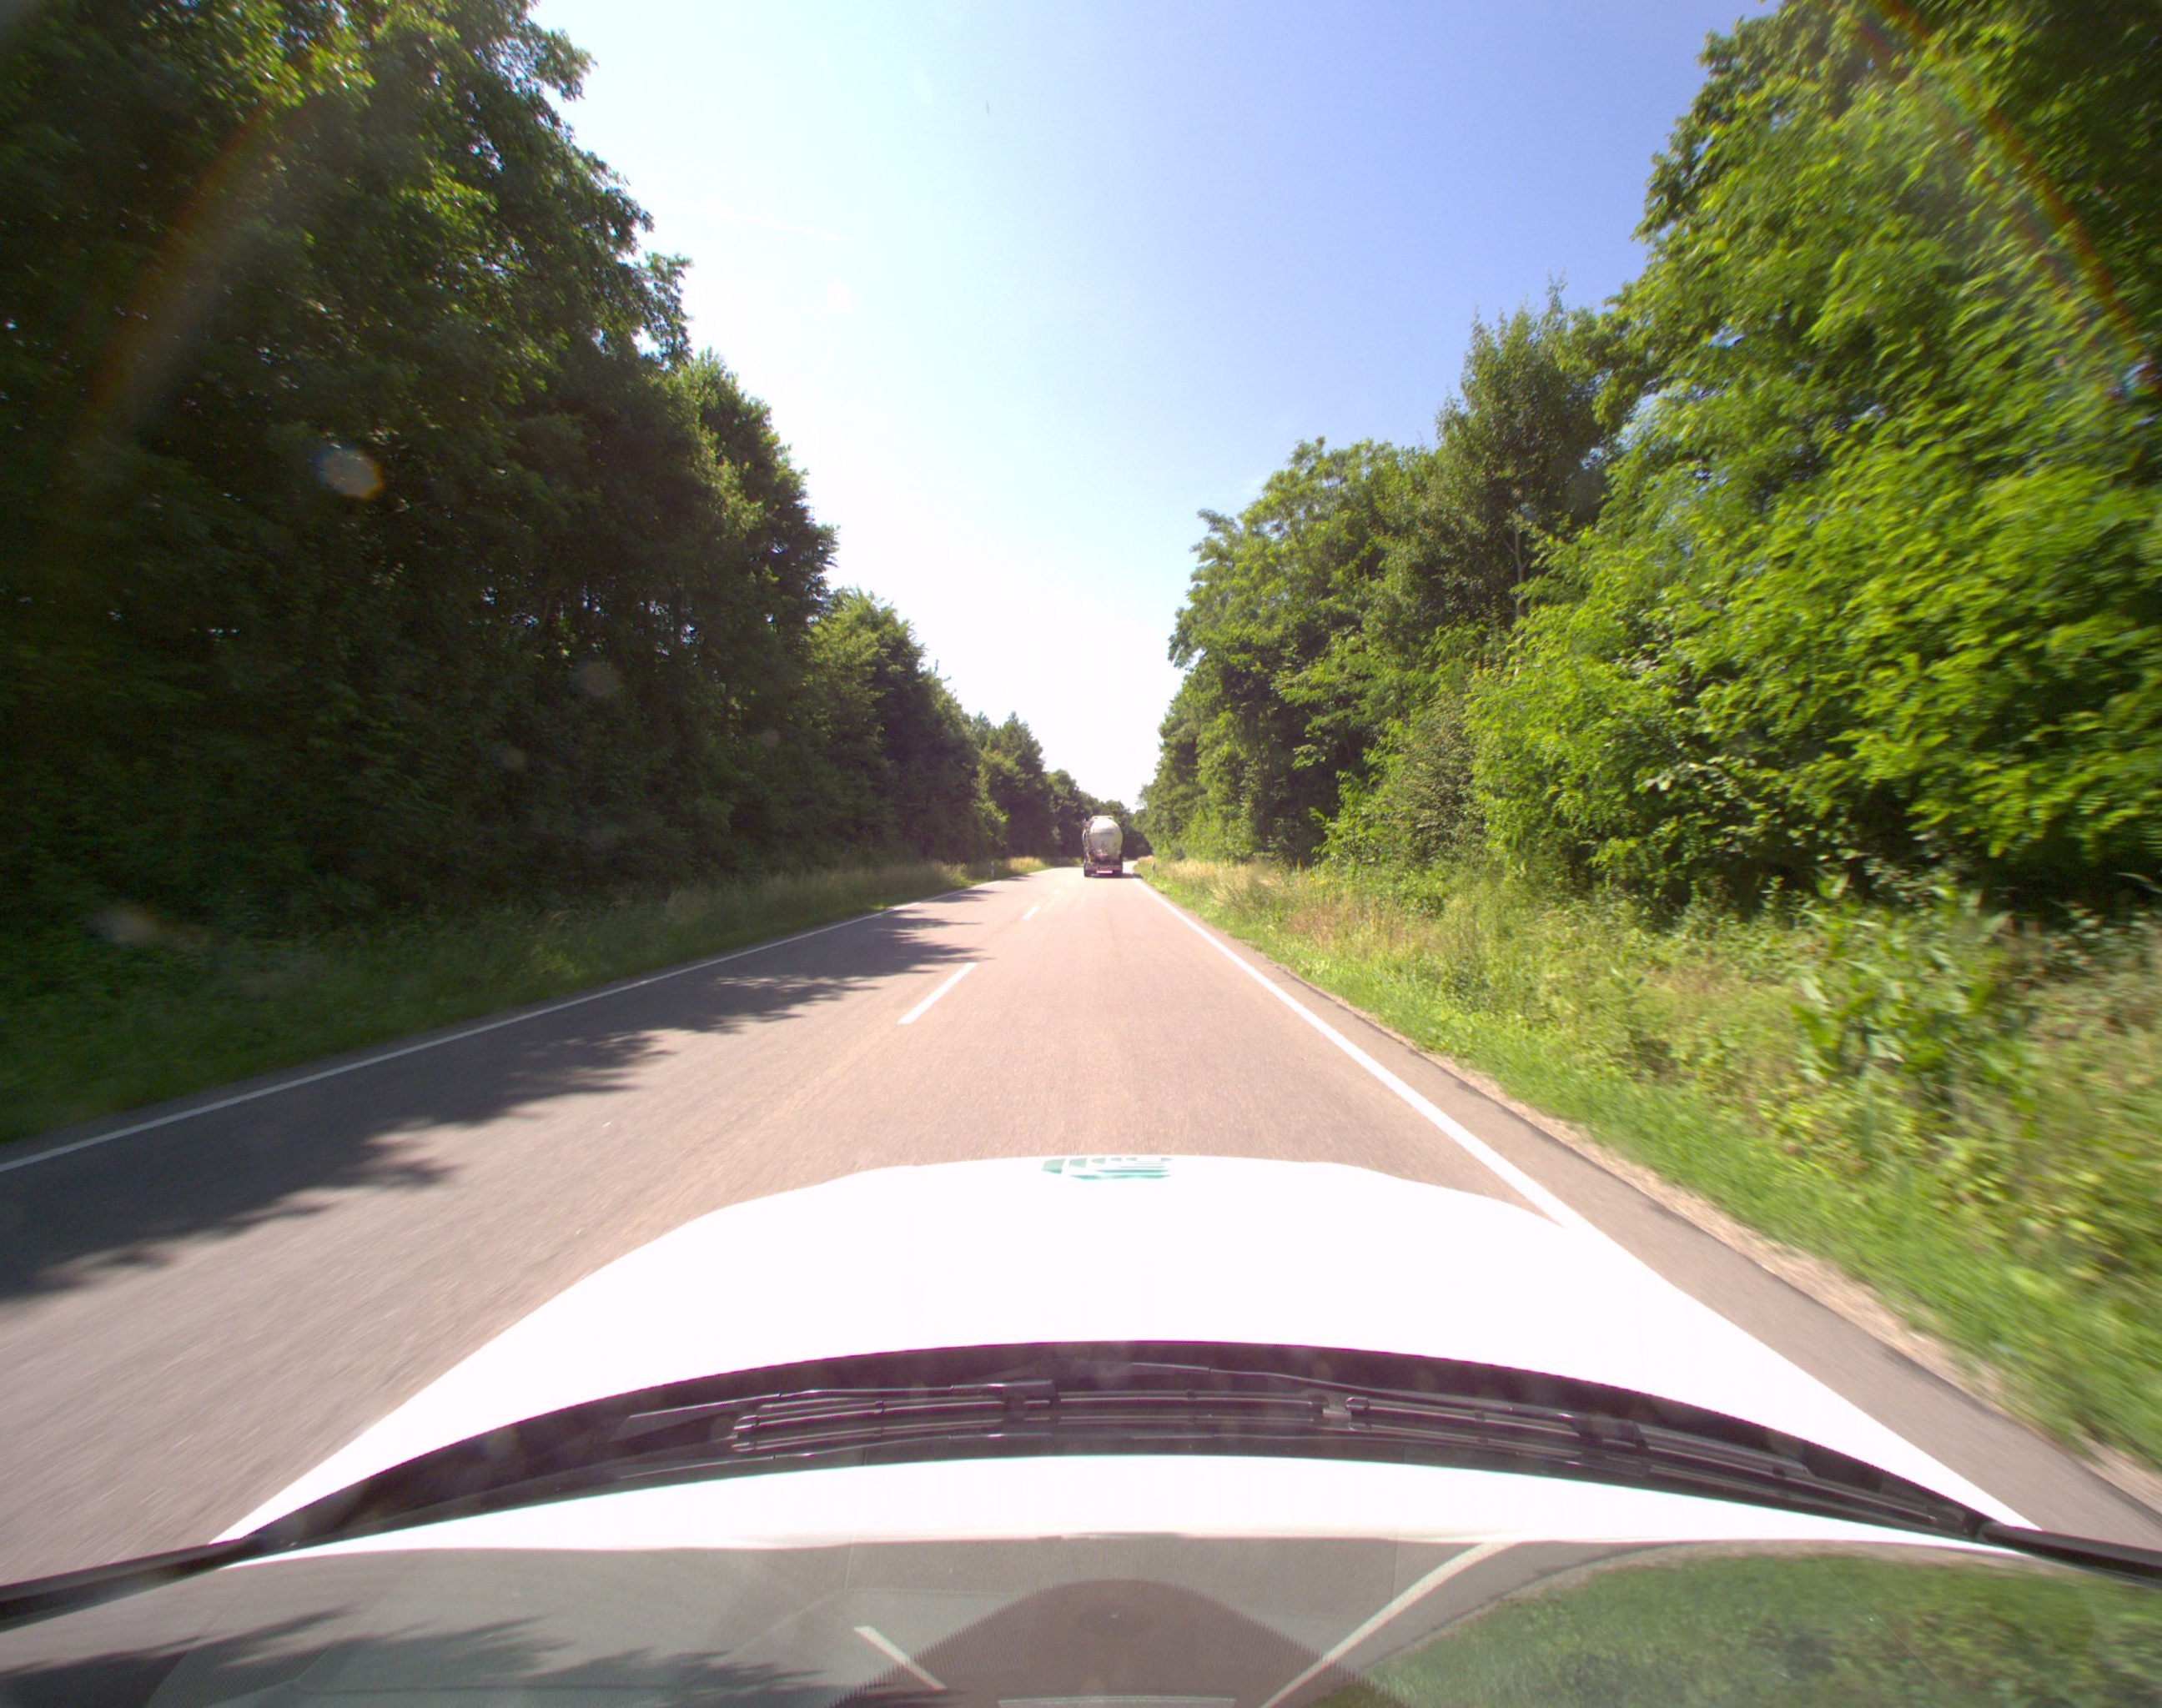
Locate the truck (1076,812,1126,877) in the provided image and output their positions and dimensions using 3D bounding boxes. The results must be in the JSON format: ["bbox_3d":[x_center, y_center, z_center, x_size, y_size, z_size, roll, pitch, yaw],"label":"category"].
[{"bbox_3d":[1.390,-0.572,58.430,3.038,3.998,15.639,1,0,1],"label":"truck"}]
